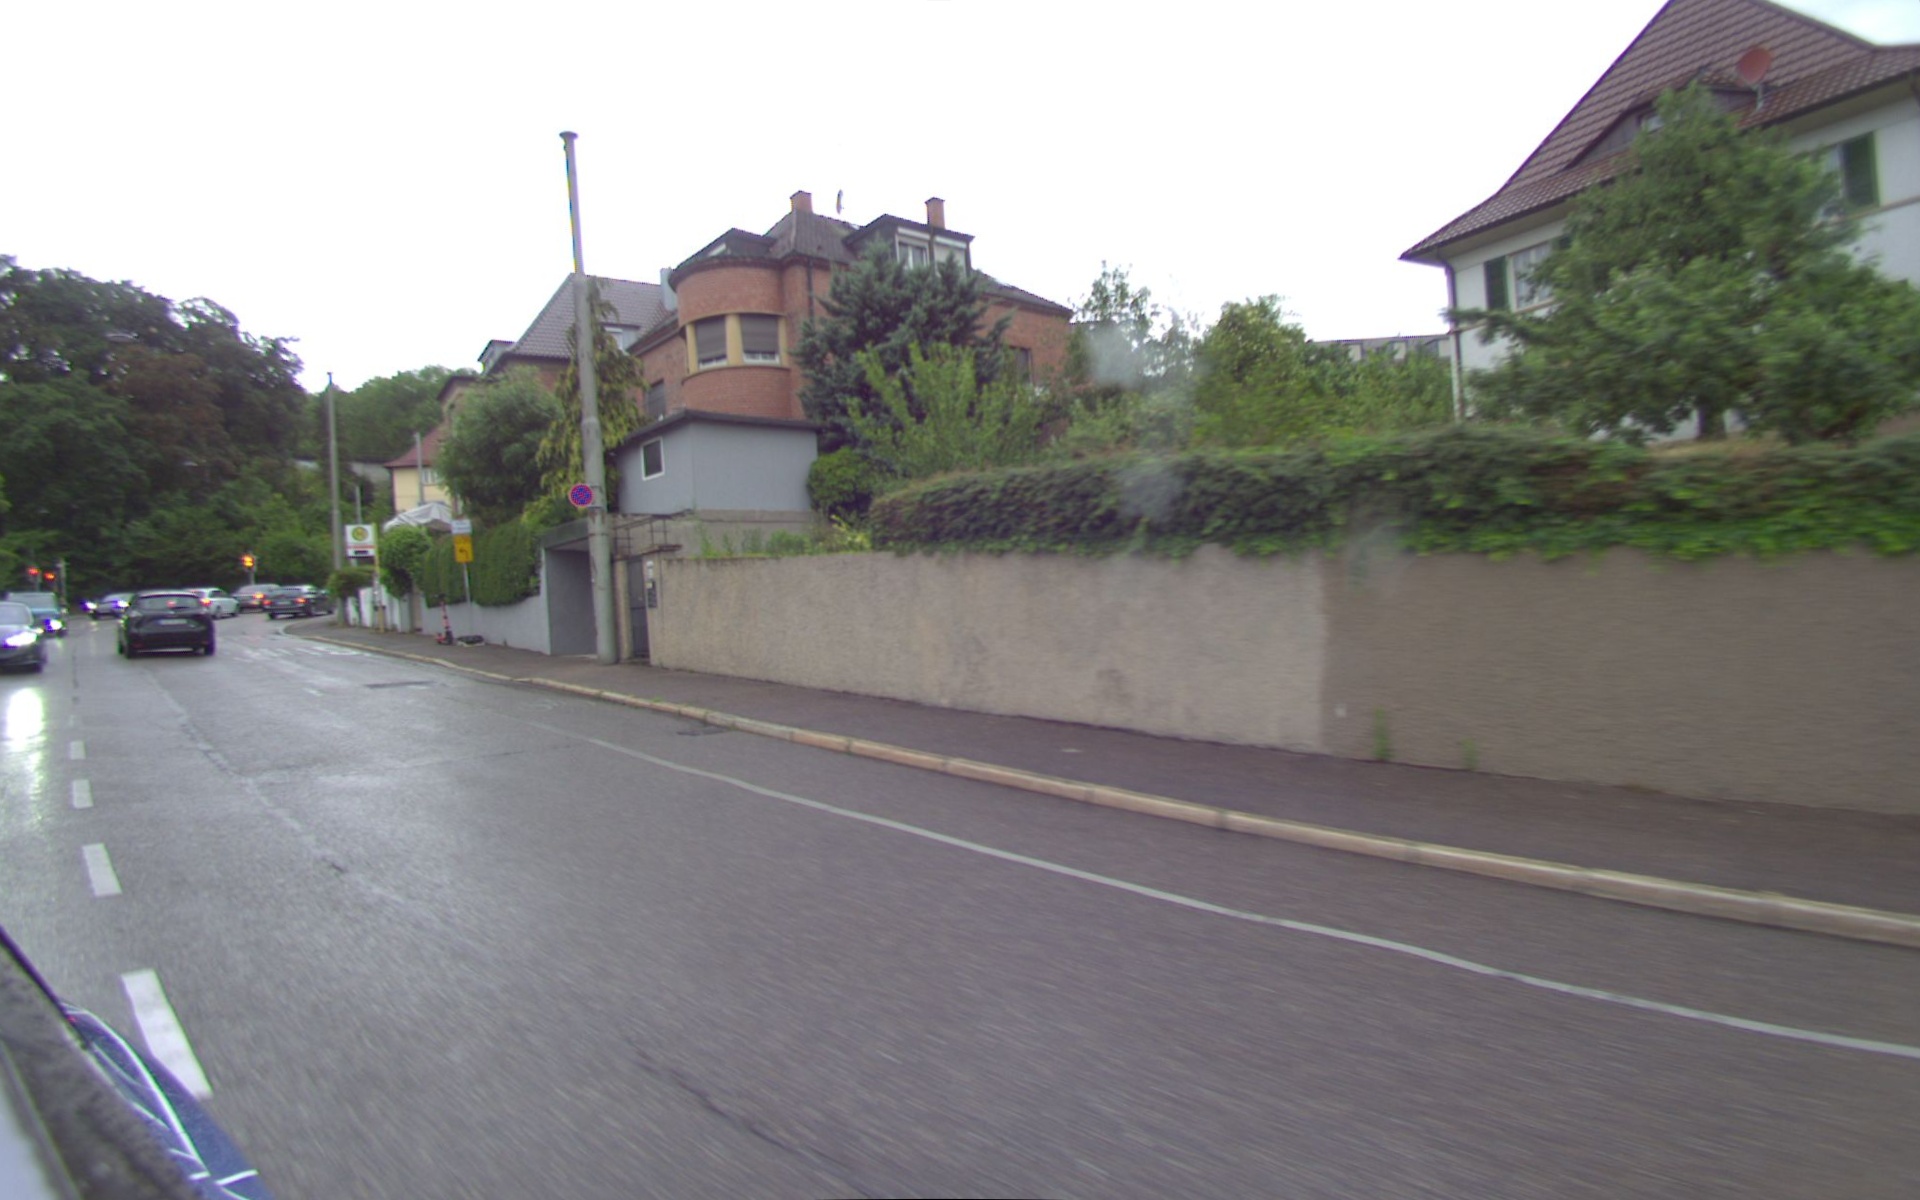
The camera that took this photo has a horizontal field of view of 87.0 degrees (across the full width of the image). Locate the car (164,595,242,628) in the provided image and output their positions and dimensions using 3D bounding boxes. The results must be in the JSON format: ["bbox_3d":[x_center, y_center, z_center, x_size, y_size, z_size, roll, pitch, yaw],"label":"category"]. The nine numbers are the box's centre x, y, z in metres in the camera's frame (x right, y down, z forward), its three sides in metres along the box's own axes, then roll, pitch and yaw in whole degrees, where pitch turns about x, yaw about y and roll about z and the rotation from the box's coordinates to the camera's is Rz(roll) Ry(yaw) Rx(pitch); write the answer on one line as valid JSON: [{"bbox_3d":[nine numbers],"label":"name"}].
[{"bbox_3d":[-36.227,0.509,48.569,1.821,1.485,4.456,0,1,-21],"label":"car"}]

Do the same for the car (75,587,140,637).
[{"bbox_3d":[-44.468,0.659,52.877,1.967,2.029,4.011,-4,-4,-32],"label":"car"}]

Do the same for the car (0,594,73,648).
[{"bbox_3d":[-32.657,0.768,35.644,1.773,1.622,4.049,-4,-1,-38],"label":"car"}]

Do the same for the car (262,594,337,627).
[{"bbox_3d":[-31.435,0.464,48.300,1.713,1.461,4.629,-1,0,-16],"label":"car"}]

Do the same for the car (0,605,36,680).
[{"bbox_3d":[-20.222,0.838,20.782,1.808,1.402,4.329,-1,1,-42],"label":"car"}]

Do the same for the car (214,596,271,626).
[{"bbox_3d":[-38.755,0.549,54.615,1.837,1.405,4.601,-4,4,-43],"label":"car"}]

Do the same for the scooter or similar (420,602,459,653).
[{"bbox_3d":[-12.786,0.662,24.837,0.516,1.213,1.437,0,0,-41],"label":"scooter or similar"}]

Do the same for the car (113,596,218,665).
[{"bbox_3d":[-19.573,0.694,24.873,1.746,1.532,3.980,-1,1,-42],"label":"car"}]
